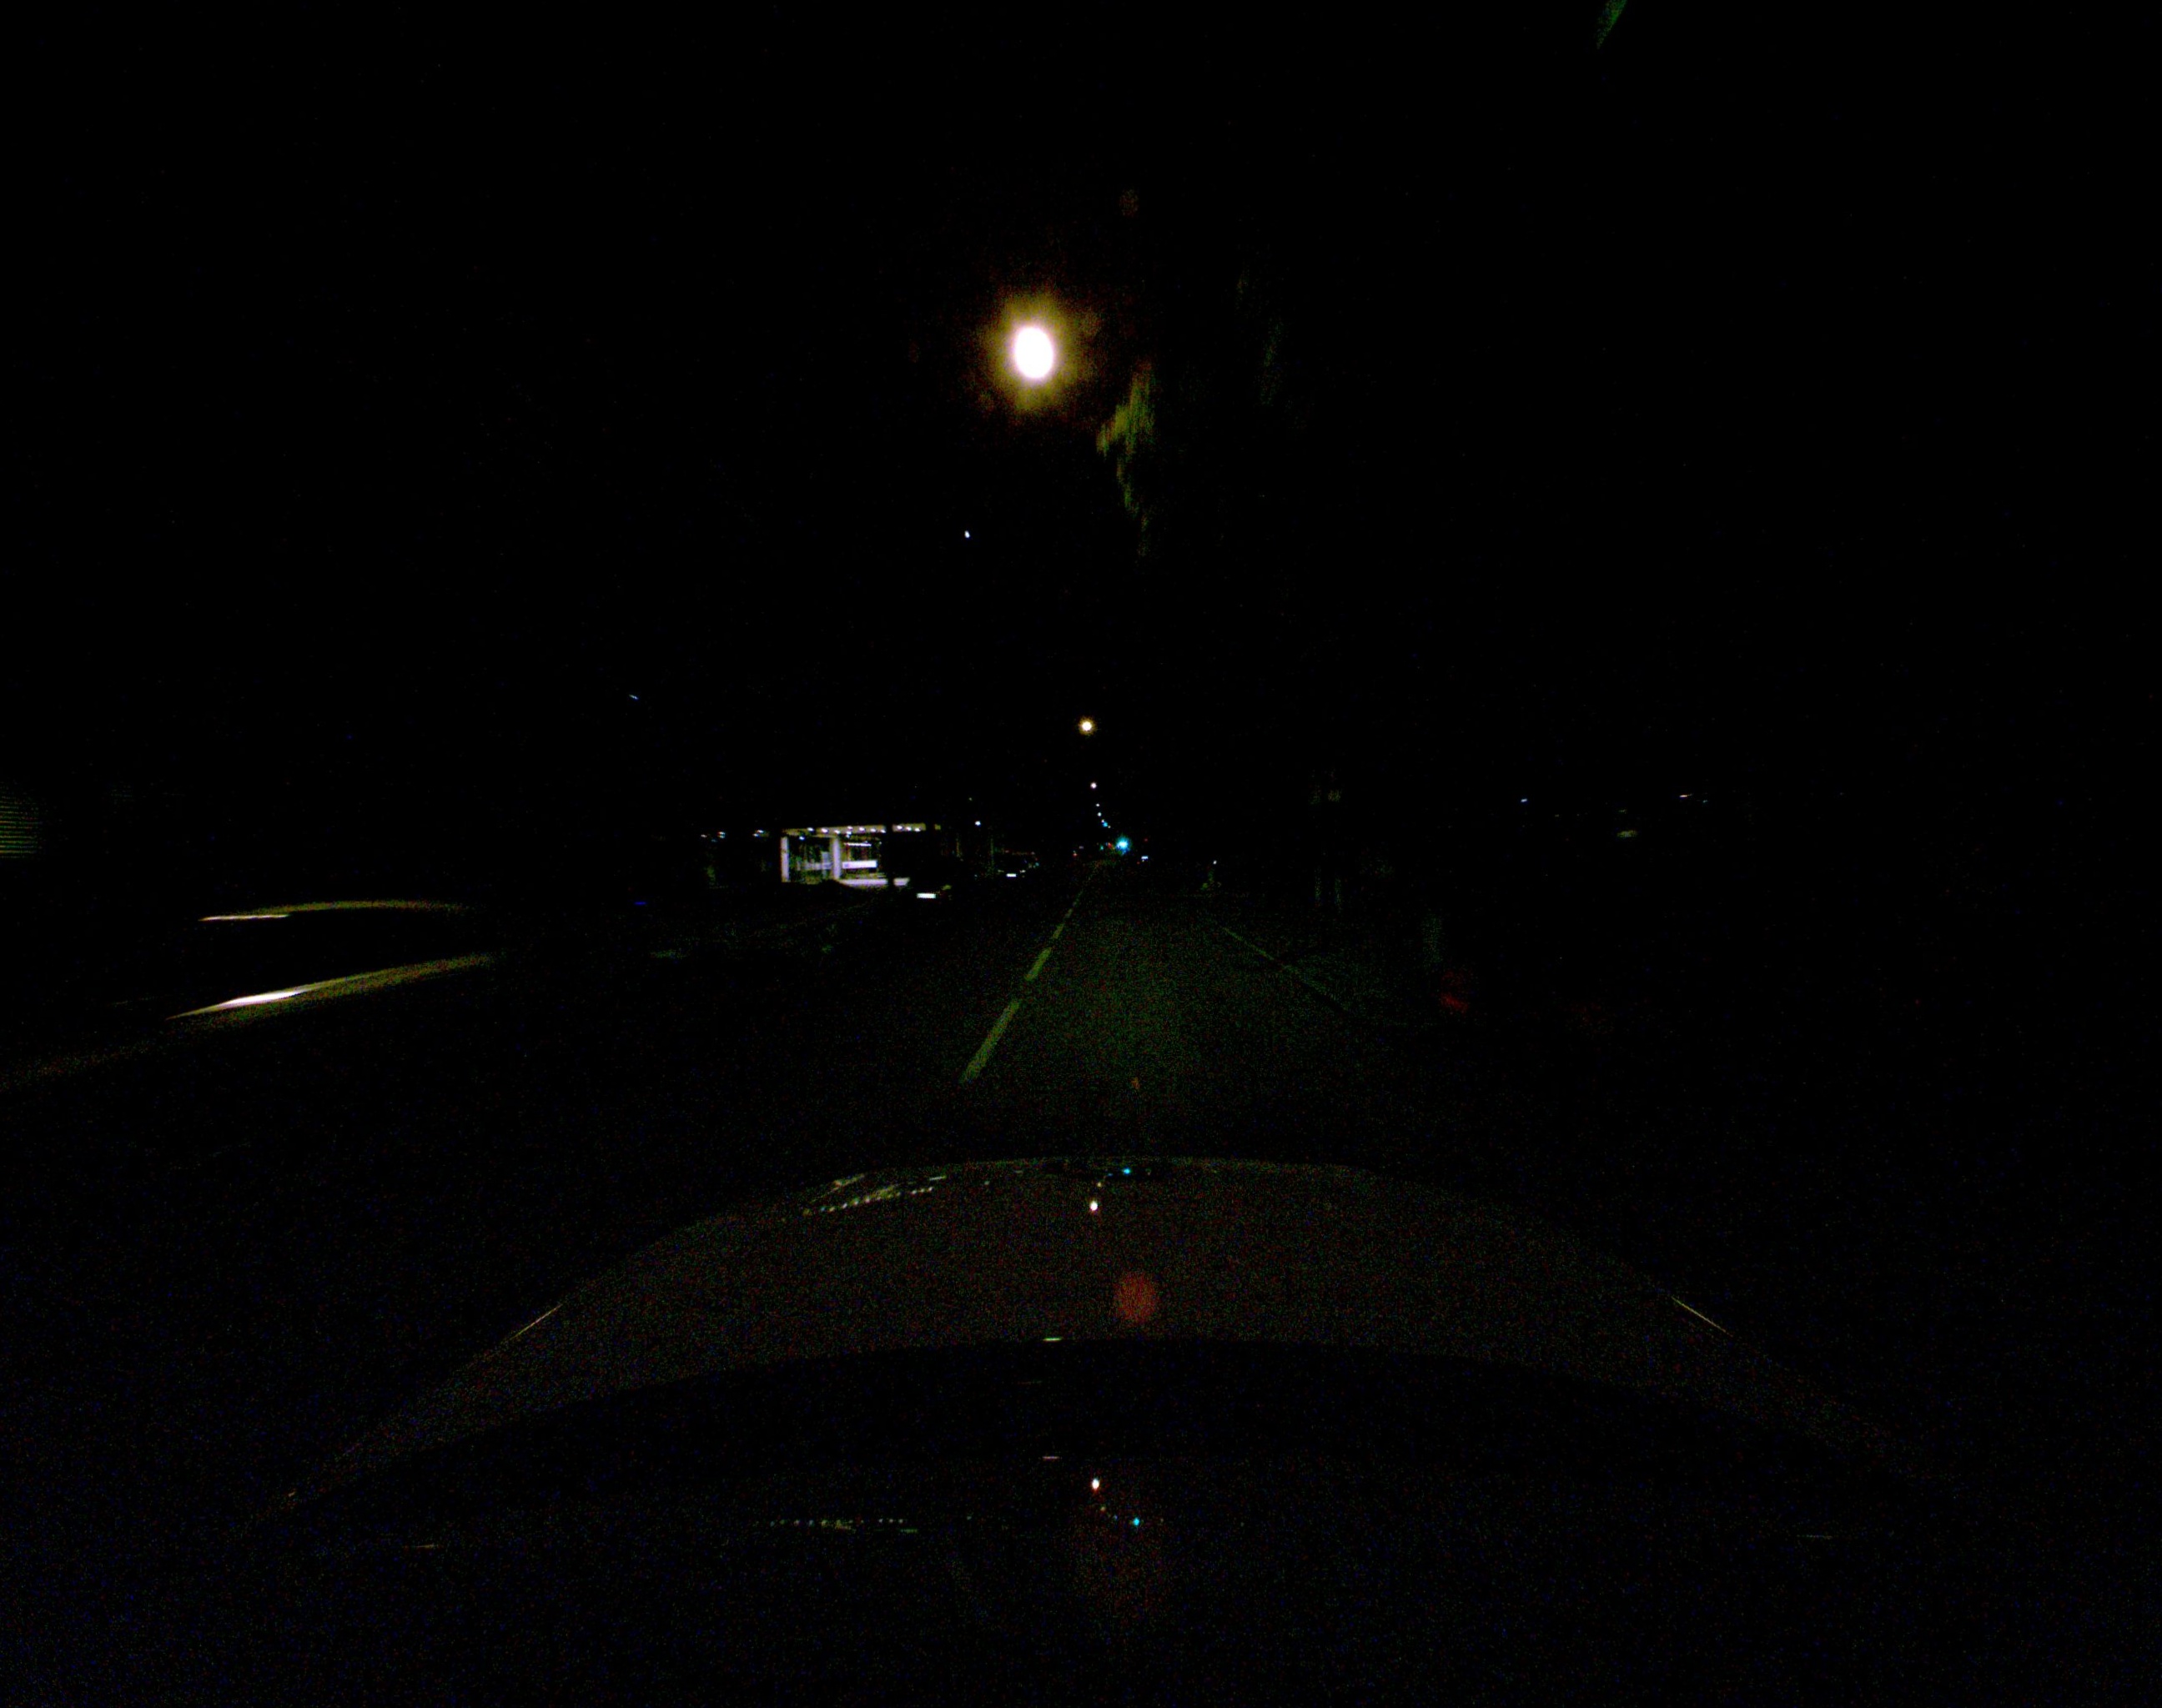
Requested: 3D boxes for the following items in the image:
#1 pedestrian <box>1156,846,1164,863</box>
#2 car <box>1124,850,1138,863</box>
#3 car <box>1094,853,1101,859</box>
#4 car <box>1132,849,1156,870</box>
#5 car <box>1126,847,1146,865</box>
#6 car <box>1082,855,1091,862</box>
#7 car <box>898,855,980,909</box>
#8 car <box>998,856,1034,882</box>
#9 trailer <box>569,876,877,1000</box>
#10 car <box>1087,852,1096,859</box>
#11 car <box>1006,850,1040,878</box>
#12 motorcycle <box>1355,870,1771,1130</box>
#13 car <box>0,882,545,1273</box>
[{"bbox_3d":[8.359,0.083,86.216,0.703,1.721,0.822,-4,0,2],"label":"pedestrian"},{"bbox_3d":[6.492,0.361,106.755,1.585,1.534,4.139,-4,0,1],"label":"car"},{"bbox_3d":[4.482,0.577,221.067,1.734,1.416,3.754,-2,0,2],"label":"car"},{"bbox_3d":[5.376,0.426,69.791,1.846,1.654,4.211,-4,0,2],"label":"car"},{"bbox_3d":[6.039,0.226,90.223,1.766,1.806,4.276,-4,0,-1],"label":"car"},{"bbox_3d":[1.260,0.911,178.071,1.734,1.416,3.754,-2,0,2],"label":"car"},{"bbox_3d":[-4.659,0.874,27.307,1.815,1.599,4.076,1,0,3],"label":"car"},{"bbox_3d":[-3.910,0.893,49.498,1.693,1.433,3.831,1,0,2],"label":"car"},{"bbox_3d":[-5.013,1.083,12.562,2.102,1.335,5.439,0,0,3],"label":"trailer"},{"bbox_3d":[2.478,0.437,191.839,1.734,1.415,3.754,-3,2,2],"label":"car"},{"bbox_3d":[-3.910,0.648,55.549,1.815,1.811,4.213,1,0,3],"label":"car"},{"bbox_3d":[2.998,0.780,5.423,0.930,1.283,2.217,-4,0,-23],"label":"motorcycle"},{"bbox_3d":[-5.359,0.998,4.670,1.710,1.502,4.206,0,0,1],"label":"car"}]
